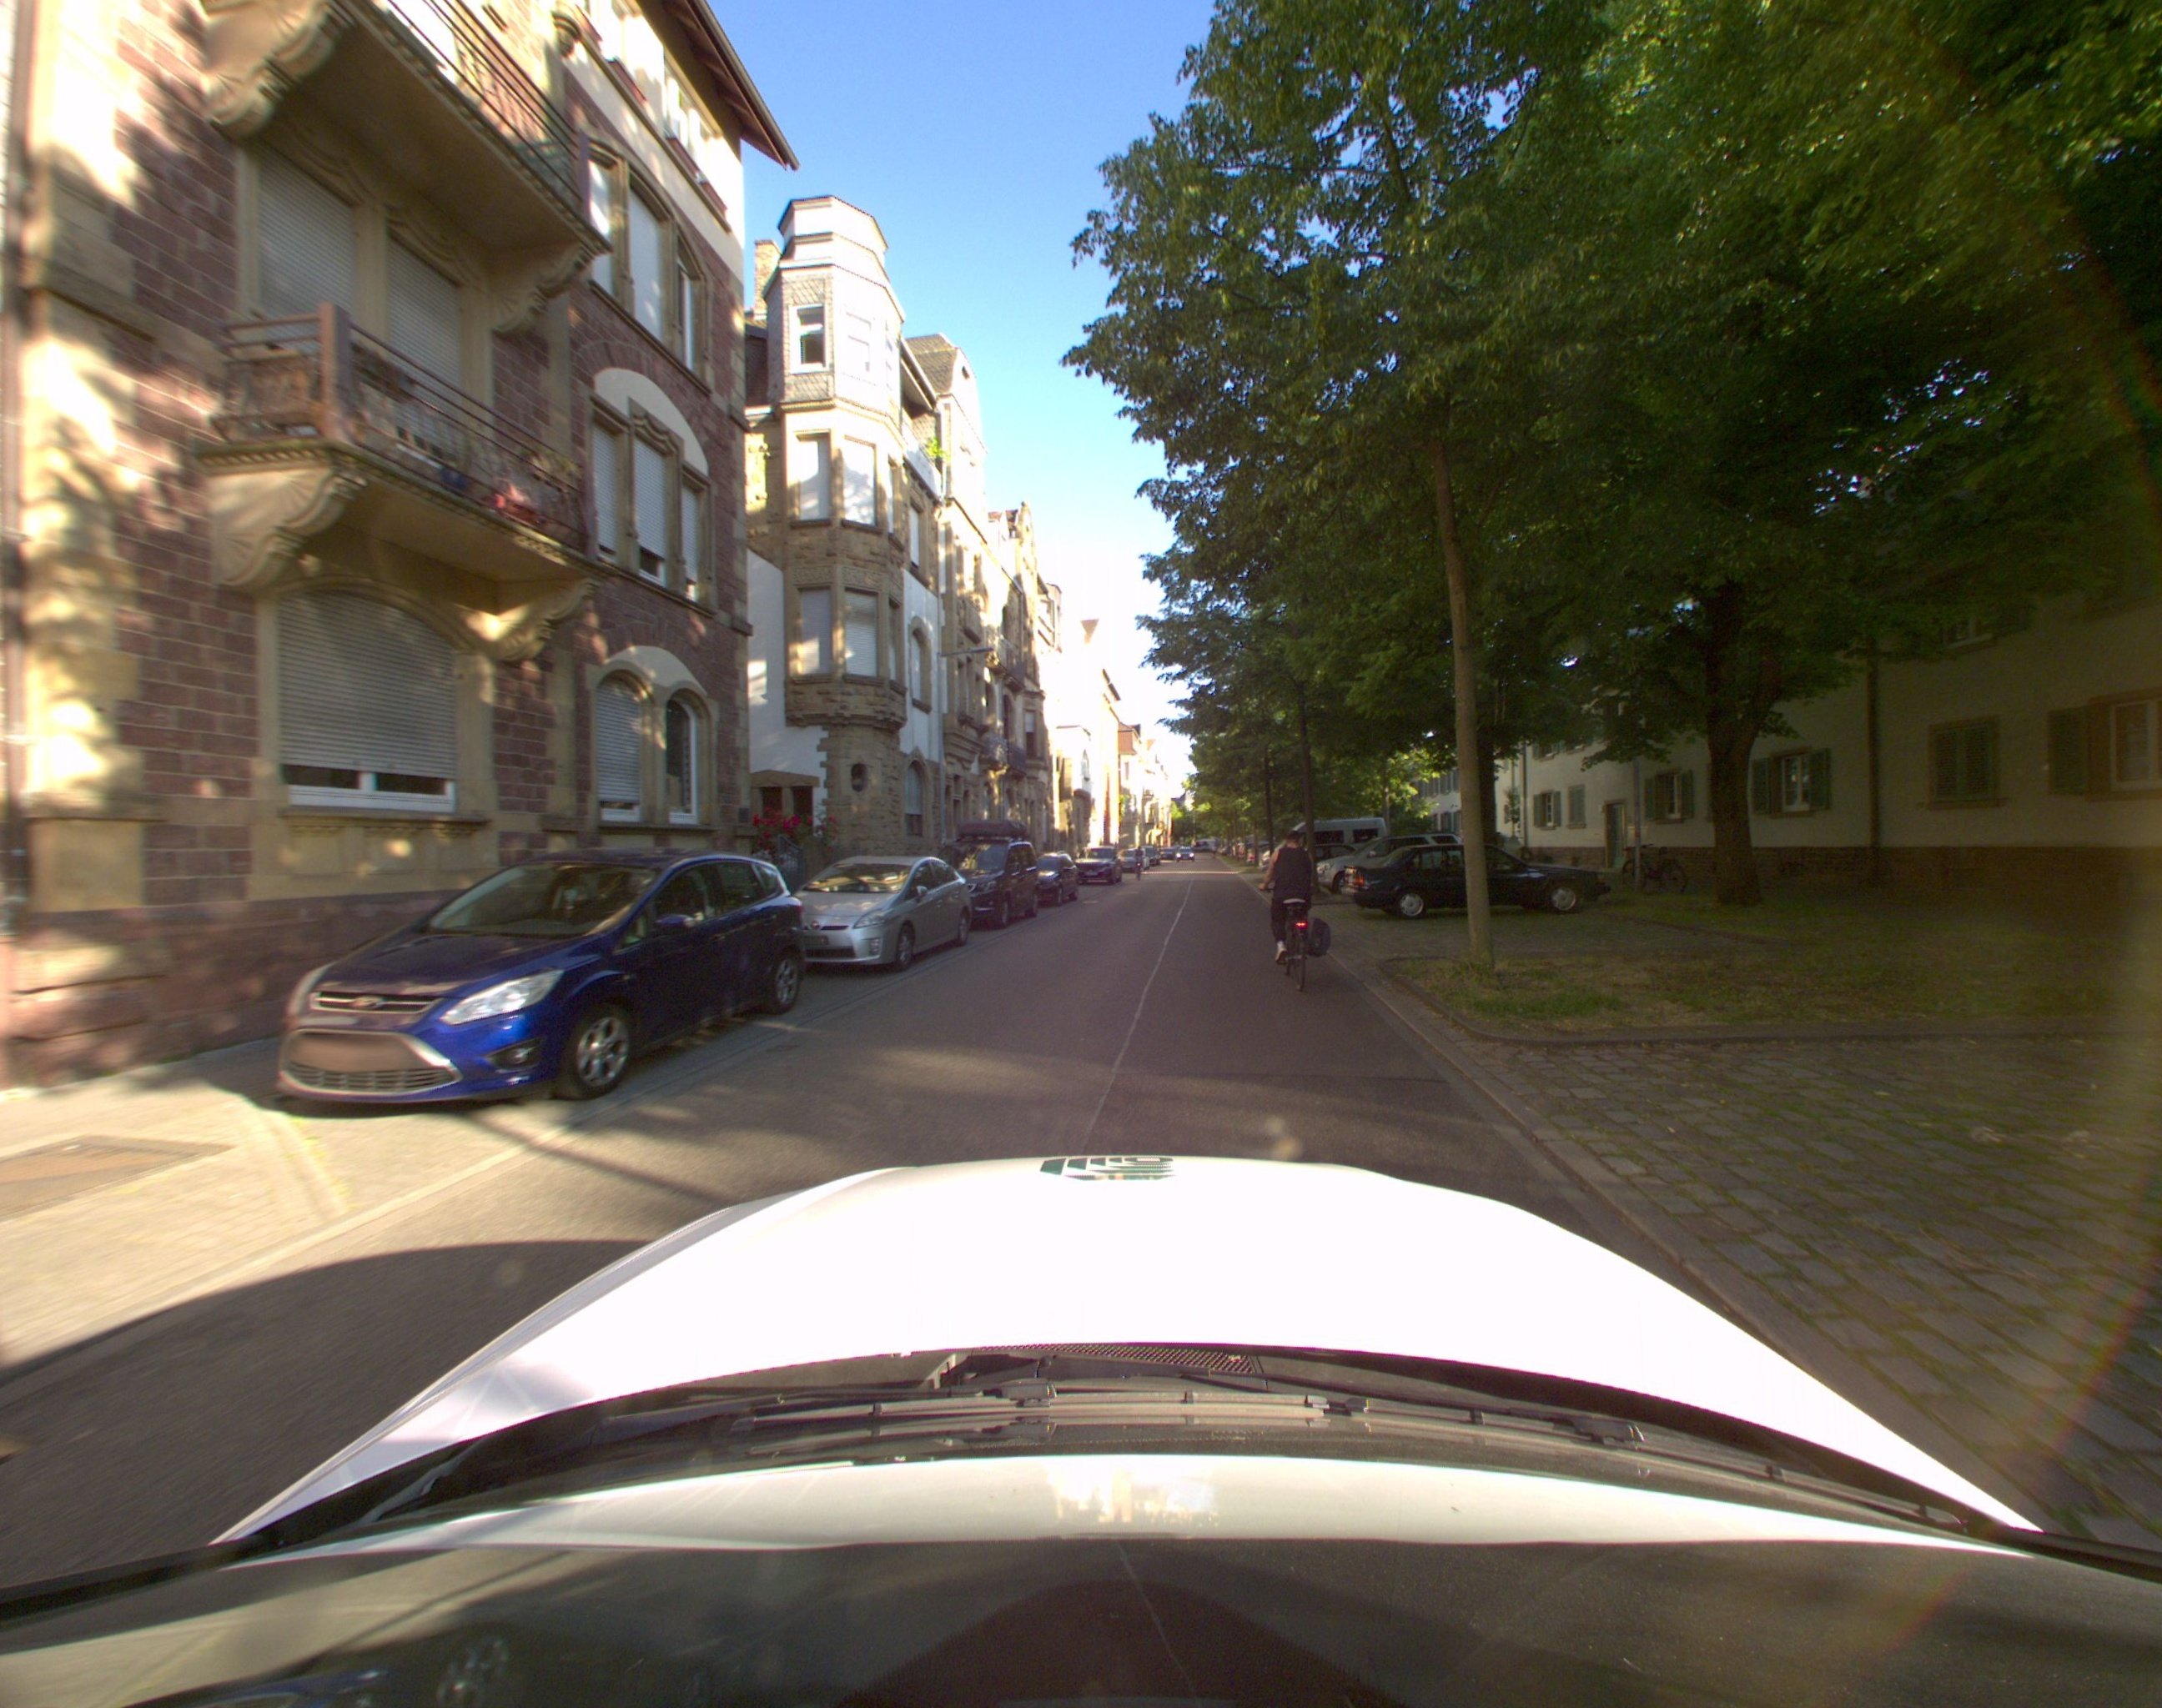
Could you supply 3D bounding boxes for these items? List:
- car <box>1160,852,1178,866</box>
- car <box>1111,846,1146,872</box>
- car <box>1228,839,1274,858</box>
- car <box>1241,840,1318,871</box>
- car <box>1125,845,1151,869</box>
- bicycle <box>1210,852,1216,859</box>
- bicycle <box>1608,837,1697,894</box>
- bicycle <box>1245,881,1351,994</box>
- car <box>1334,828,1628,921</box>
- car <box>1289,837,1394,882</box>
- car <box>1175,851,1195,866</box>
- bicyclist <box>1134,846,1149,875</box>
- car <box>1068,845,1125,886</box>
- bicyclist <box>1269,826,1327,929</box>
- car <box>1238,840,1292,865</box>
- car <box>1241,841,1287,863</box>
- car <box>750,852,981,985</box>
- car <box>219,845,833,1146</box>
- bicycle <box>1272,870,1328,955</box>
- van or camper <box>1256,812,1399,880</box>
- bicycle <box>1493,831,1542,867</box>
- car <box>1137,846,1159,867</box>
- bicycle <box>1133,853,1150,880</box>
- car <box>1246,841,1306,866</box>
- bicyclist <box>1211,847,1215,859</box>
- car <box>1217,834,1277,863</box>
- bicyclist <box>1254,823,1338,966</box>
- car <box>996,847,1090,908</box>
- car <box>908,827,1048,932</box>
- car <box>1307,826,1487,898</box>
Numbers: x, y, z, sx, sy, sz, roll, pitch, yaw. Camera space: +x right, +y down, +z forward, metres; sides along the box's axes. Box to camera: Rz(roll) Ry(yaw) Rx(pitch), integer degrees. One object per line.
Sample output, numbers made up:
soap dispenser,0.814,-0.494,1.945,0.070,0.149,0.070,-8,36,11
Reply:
car,10.525,0.600,97.516,1.983,1.486,4.008,-2,-1,7
car,3.054,0.303,51.671,1.745,1.517,4.124,2,0,8
car,18.454,-0.610,88.624,4.728,1.780,1.859,-3,-1,9
car,11.919,0.123,49.139,4.222,1.606,1.756,-3,-1,5
car,4.013,0.196,57.244,1.482,1.517,3.784,2,0,8
bicycle,15.005,0.198,92.561,0.538,0.828,1.923,-2,-1,9
bicycle,12.514,0.228,17.904,0.626,1.163,1.935,-2,1,1
bicycle,2.409,0.885,9.271,0.693,1.073,1.969,-2,-1,1
car,7.797,0.413,16.336,4.868,1.442,1.946,-4,-1,6
car,9.780,0.204,30.772,3.482,1.472,1.755,-3,-1,7
car,10.796,0.437,84.936,1.887,1.486,4.388,-2,-1,6
bicyclist,2.914,0.318,39.207,0.662,1.345,1.062,-3,1,5
car,0.734,0.497,35.752,2.039,1.622,4.403,-2,-1,6
bicyclist,3.360,0.357,12.697,0.714,1.527,0.974,-2,-1,8
car,15.392,-0.136,68.175,4.217,1.840,1.859,-3,-1,9
car,17.598,-0.197,78.495,4.217,1.797,1.859,-3,-1,9
car,-2.836,0.763,11.864,1.720,1.498,4.464,-1,1,6
car,-3.744,0.783,6.615,1.720,1.622,4.266,0,0,7
bicycle,3.308,0.847,12.435,0.552,1.072,1.973,-2,2,8
van or camper,10.700,-0.323,35.764,5.545,2.536,2.273,-4,-1,6
bicycle,17.878,-0.212,33.398,0.798,1.399,2.001,-2,0,-4
car,5.539,0.220,66.911,1.622,1.665,3.977,-2,-1,7
bicycle,2.955,0.604,39.494,0.749,1.178,2.625,-3,1,5
car,14.511,-0.022,60.798,4.217,1.647,1.859,-3,-1,9
bicyclist,14.967,-0.165,92.412,0.414,1.350,0.431,-2,-1,8
car,21.376,-0.731,105.120,7.289,3.282,2.229,-3,-1,9
bicyclist,2.432,0.446,9.321,0.703,1.527,0.973,-2,-1,3
car,-0.995,0.645,24.055,1.719,1.574,4.721,-2,-1,10
car,-2.057,0.452,17.683,1.958,1.974,4.506,-1,1,6
car,9.041,0.199,23.665,4.452,1.669,1.946,-4,1,6
